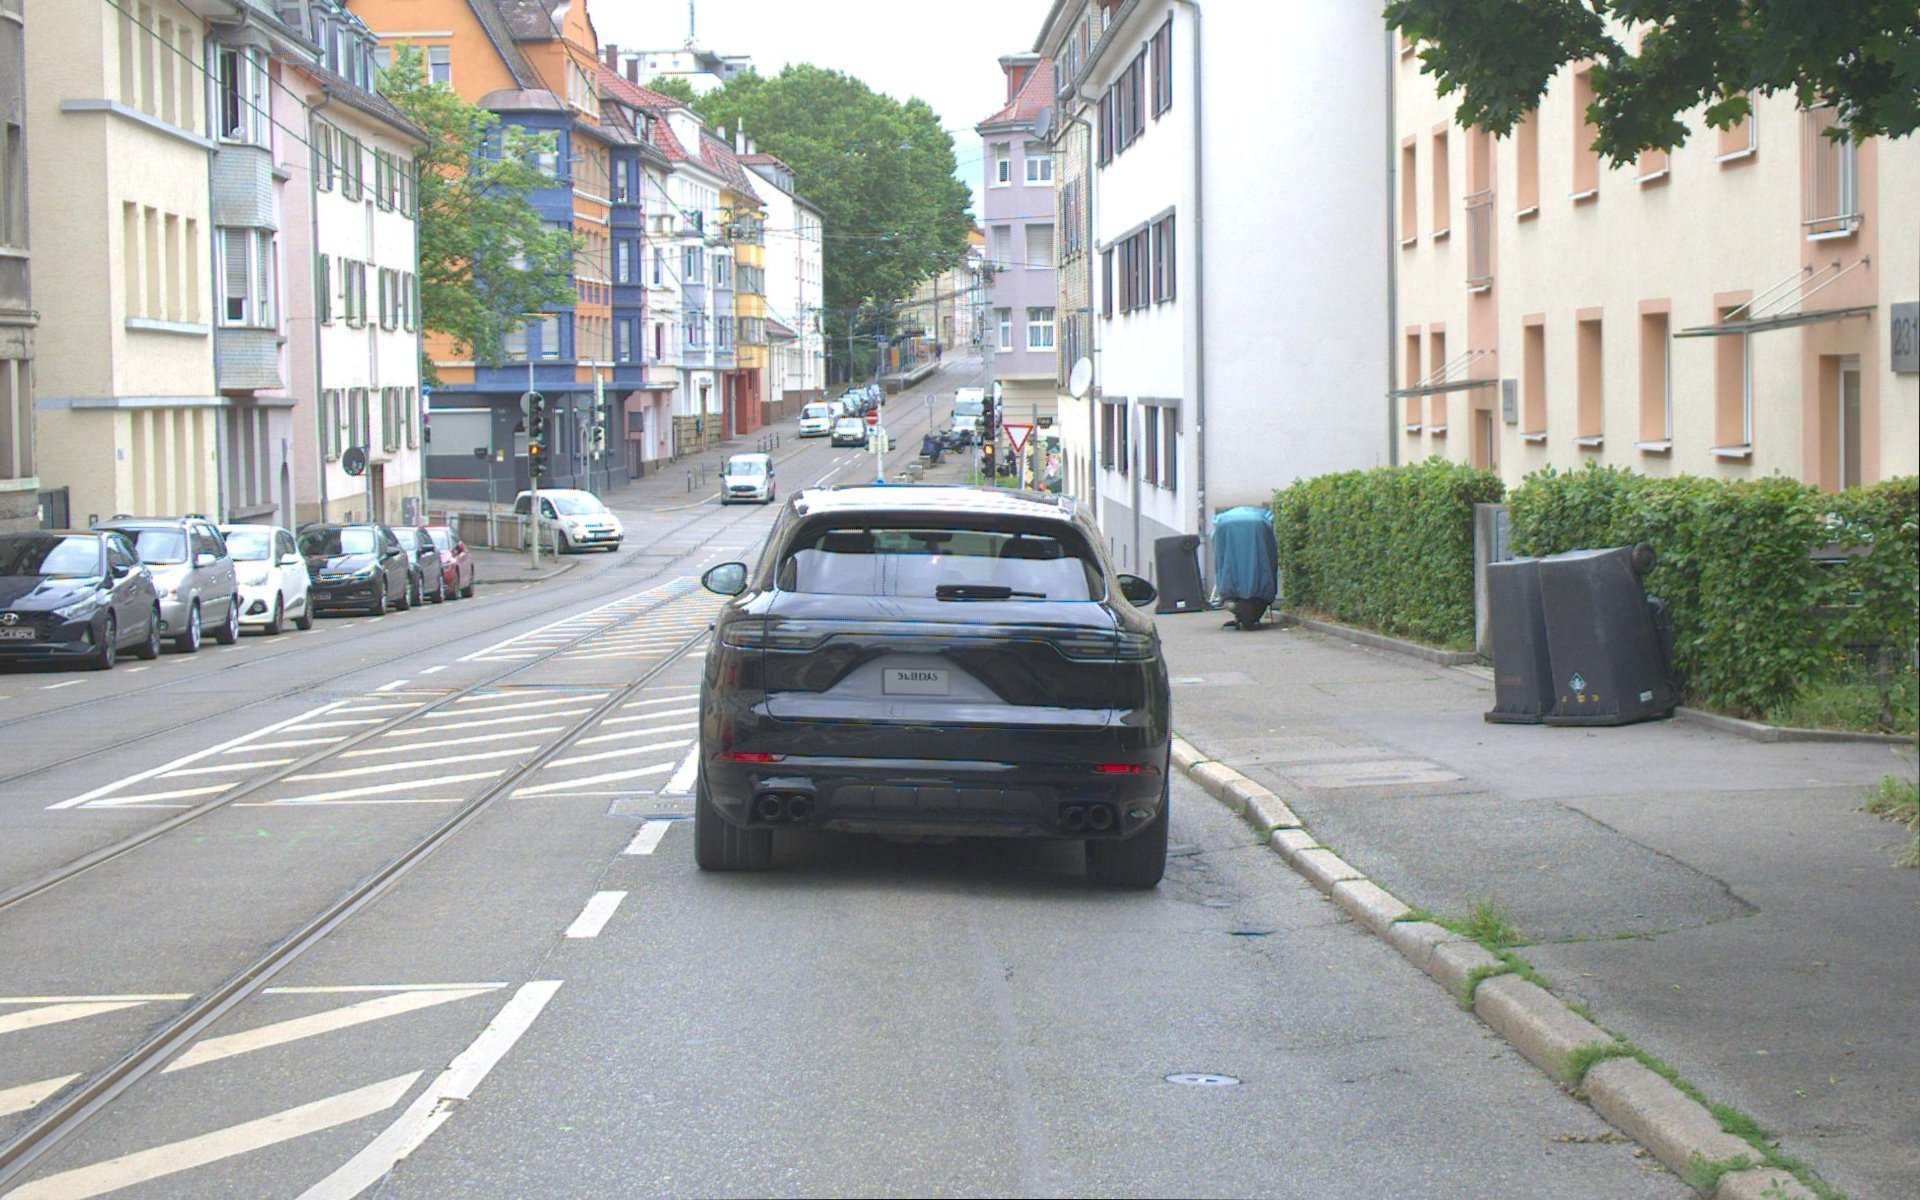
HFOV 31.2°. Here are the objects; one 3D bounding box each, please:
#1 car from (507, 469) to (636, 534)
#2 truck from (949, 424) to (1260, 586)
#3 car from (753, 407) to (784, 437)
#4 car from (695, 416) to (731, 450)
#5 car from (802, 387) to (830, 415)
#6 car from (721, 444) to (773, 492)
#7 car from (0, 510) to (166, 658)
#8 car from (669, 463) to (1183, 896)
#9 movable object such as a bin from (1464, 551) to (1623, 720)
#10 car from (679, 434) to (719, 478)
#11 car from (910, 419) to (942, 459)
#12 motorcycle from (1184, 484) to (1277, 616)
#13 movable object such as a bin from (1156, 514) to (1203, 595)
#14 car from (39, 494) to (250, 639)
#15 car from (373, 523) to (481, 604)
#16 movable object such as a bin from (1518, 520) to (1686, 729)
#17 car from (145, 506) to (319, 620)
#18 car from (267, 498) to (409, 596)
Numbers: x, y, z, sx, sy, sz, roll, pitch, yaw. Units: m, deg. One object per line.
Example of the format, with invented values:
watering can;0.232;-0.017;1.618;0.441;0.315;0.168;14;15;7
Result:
car;-11.184;-2.806;98.742;1.921;1.812;4.217;-2;2;-34
truck;3.879;-2.504;93.698;8.581;4.167;2.255;0;-1;34
car;-9.691;-9.012;174.050;1.394;1.445;3.359;-1;1;-1
car;-11.009;-7.427;153.222;1.394;1.445;3.359;-1;1;-1
car;-7.986;-11.058;190.997;1.394;1.445;3.359;-1;1;-1
car;-8.127;-5.037;131.662;1.751;1.753;4.254;-1;1;-1
car;-9.614;-0.176;36.387;1.620;1.458;4.033;-2;1;-3
car;-0.187;0.260;15.437;1.993;1.670;4.001;-1;1;-2
movable object such as a bin;3.597;0.208;21.245;0.792;1.008;0.789;-1;1;-5
car;-10.638;-5.857;140.405;1.394;1.716;3.359;-1;1;-1
car;-1.520;-7.184;153.837;1.394;1.716;3.359;-1;1;-1
motorcycle;3.078;-0.585;39.328;0.838;1.451;2.553;-1;1;0
movable object such as a bin;2.951;-0.614;46.250;0.588;1.076;0.692;-1;1;1
car;-9.679;-0.414;41.090;1.620;1.599;4.351;-2;1;-3
car;-10.379;-0.723;67.184;1.620;1.485;4.048;-2;1;-3
movable object such as a bin;3.818;0.133;20.499;0.792;1.214;0.789;-1;1;-5
car;-9.911;-0.520;47.042;1.620;1.458;3.685;-1;1;-1
car;-9.948;-0.855;55.272;1.620;1.468;4.556;-2;1;-3
